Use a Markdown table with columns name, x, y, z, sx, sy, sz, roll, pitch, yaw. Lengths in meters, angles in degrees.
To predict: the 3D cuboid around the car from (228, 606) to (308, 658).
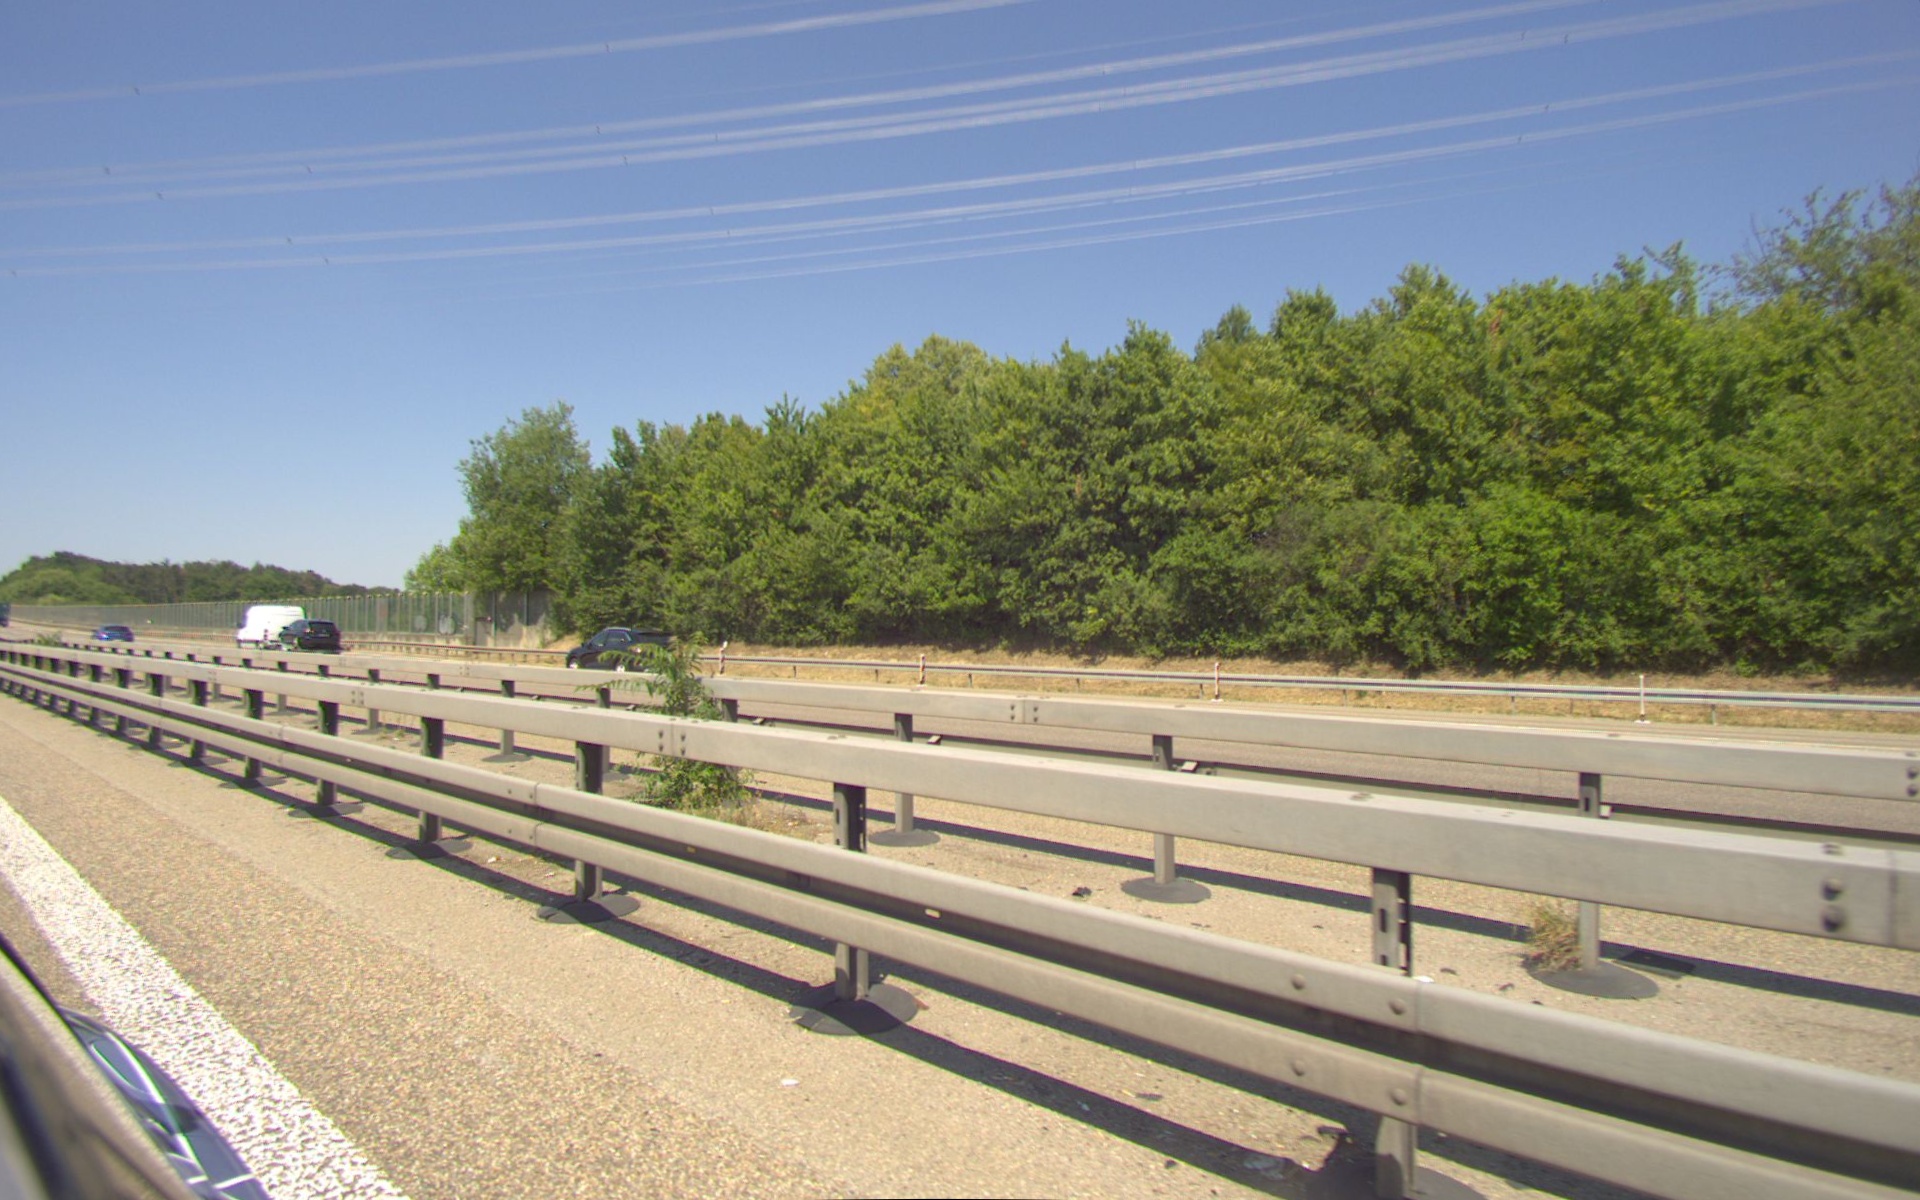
| name | x | y | z | sx | sy | sz | roll | pitch | yaw |
| --- | --- | --- | --- | --- | --- | --- | --- | --- | --- |
| car | -37.846 | 1.754 | 55.268 | 6.001 | 2.660 | 2.087 | -1 | -4 | 41 |

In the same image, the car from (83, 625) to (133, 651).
| name | x | y | z | sx | sy | sz | roll | pitch | yaw |
| --- | --- | --- | --- | --- | --- | --- | --- | --- | --- |
| car | -53.291 | 2.374 | 63.285 | 4.353 | 1.485 | 1.763 | -1 | -5 | 42 |

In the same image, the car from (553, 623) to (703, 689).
| name | x | y | z | sx | sy | sz | roll | pitch | yaw |
| --- | --- | --- | --- | --- | --- | --- | --- | --- | --- |
| car | -9.985 | 1.637 | 30.285 | 4.509 | 1.813 | 2.136 | -1 | -4 | 39 |

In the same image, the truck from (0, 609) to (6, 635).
| name | x | y | z | sx | sy | sz | roll | pitch | yaw |
| --- | --- | --- | --- | --- | --- | --- | --- | --- | --- |
| truck | -162.899 | 3.671 | 169.629 | 11.087 | 4.169 | 3.271 | -2 | -4 | 42 |

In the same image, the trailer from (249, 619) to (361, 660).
| name | x | y | z | sx | sy | sz | roll | pitch | yaw |
| --- | --- | --- | --- | --- | --- | --- | --- | --- | --- |
| trailer | -33.052 | 1.982 | 50.996 | 6.717 | 1.961 | 2.737 | -1 | -4 | 39 |
